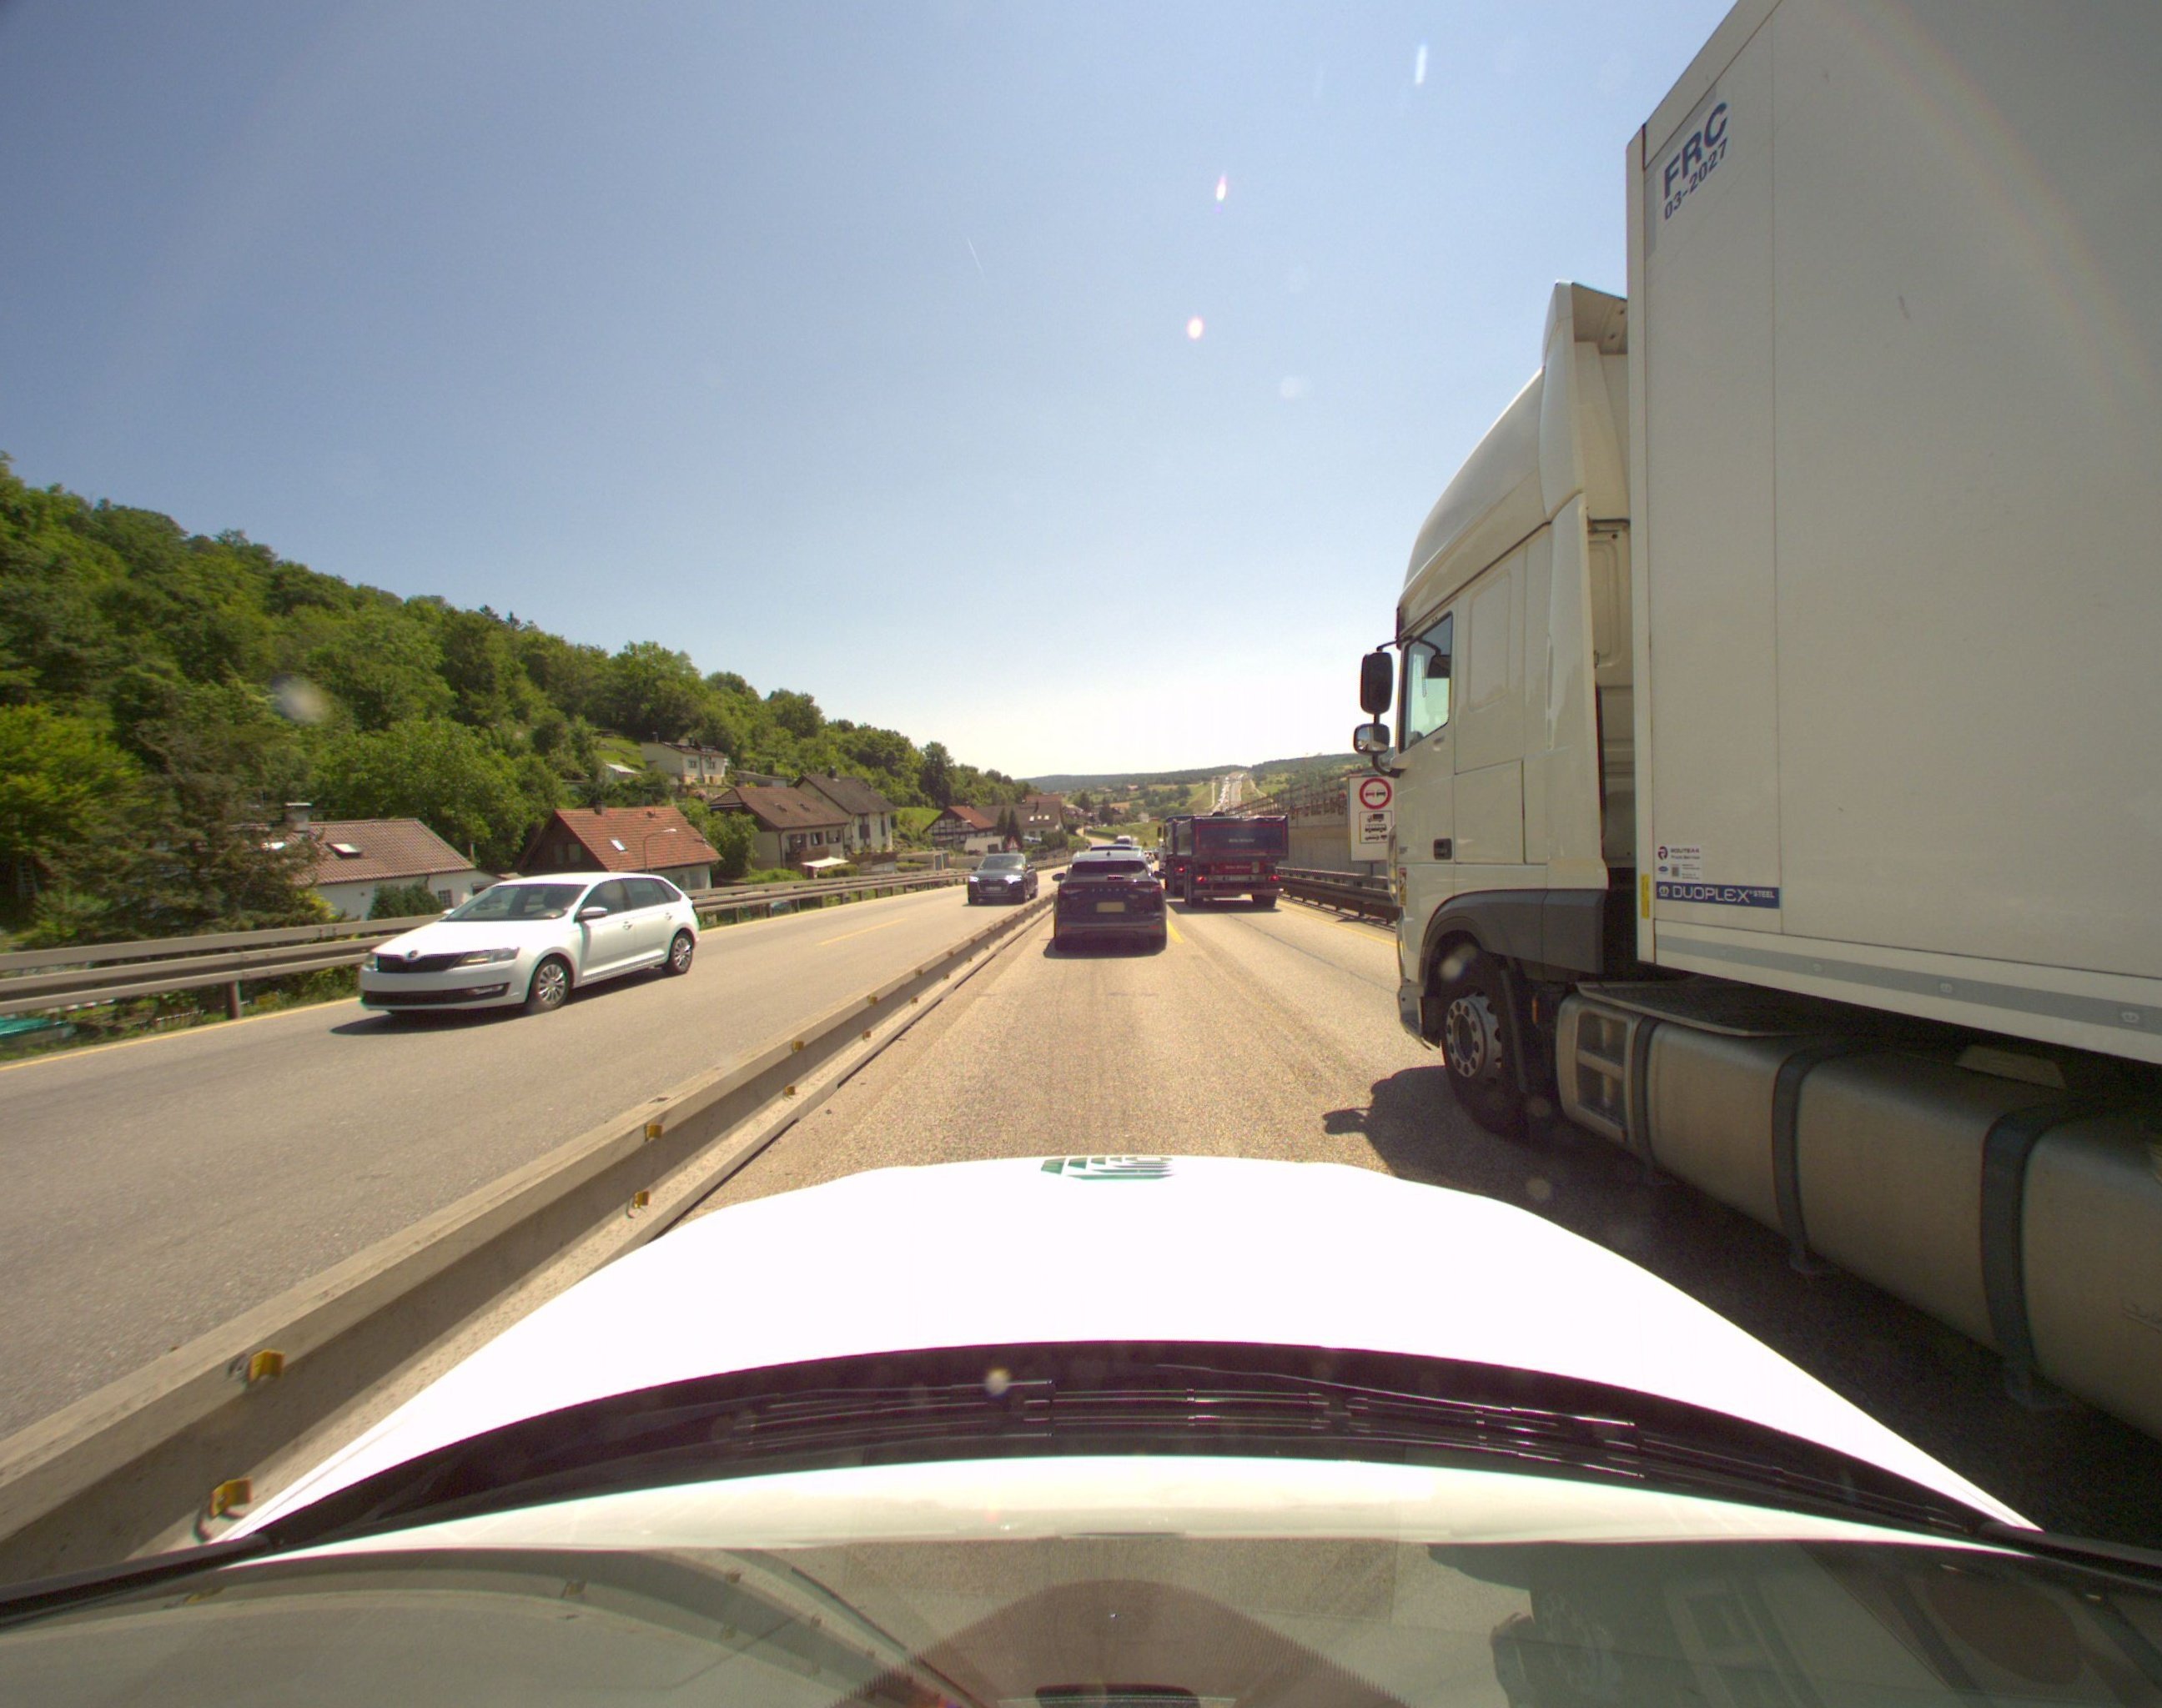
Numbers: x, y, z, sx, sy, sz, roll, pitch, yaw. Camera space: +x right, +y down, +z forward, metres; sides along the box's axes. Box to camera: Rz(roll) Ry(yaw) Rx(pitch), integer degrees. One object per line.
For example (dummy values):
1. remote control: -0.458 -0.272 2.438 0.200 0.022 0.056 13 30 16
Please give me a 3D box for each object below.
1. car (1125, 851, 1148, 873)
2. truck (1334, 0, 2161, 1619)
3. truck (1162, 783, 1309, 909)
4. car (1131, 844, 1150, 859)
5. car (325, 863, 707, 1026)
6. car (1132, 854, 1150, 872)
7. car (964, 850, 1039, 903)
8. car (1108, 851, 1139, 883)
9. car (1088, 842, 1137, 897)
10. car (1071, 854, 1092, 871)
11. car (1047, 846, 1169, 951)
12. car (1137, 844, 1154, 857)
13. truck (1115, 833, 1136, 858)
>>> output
1. car: 4.426 0.592 64.827 1.698 1.622 4.006 0 1 5
2. truck: 3.113 -0.700 2.068 2.504 4.025 8.239 0 -1 1
3. truck: 4.611 -0.147 27.400 3.182 3.191 12.818 -1 -1 3
4. car: 6.627 -0.297 90.752 1.983 1.585 3.843 0 -1 6
5. car: -6.360 0.896 9.833 1.693 1.493 4.001 -2 -1 2
6. car: 5.840 0.894 79.248 1.698 1.622 4.006 0 1 5
7. car: -2.588 0.726 27.578 1.910 1.596 4.530 -1 -1 2
8. car: 2.365 0.695 46.091 1.700 1.622 4.002 0 1 2
9. car: 1.153 0.514 30.317 1.700 1.881 4.002 0 1 2
10. car: 0.049 0.747 72.957 1.740 1.426 3.712 -2 1 2
11. car: 0.474 0.688 14.275 1.836 1.586 3.909 0 -1 2
12. car: 8.160 -0.438 102.795 1.983 1.585 3.843 0 -1 6
13. truck: 8.140 -1.542 148.126 3.287 4.362 8.314 0 -1 6
